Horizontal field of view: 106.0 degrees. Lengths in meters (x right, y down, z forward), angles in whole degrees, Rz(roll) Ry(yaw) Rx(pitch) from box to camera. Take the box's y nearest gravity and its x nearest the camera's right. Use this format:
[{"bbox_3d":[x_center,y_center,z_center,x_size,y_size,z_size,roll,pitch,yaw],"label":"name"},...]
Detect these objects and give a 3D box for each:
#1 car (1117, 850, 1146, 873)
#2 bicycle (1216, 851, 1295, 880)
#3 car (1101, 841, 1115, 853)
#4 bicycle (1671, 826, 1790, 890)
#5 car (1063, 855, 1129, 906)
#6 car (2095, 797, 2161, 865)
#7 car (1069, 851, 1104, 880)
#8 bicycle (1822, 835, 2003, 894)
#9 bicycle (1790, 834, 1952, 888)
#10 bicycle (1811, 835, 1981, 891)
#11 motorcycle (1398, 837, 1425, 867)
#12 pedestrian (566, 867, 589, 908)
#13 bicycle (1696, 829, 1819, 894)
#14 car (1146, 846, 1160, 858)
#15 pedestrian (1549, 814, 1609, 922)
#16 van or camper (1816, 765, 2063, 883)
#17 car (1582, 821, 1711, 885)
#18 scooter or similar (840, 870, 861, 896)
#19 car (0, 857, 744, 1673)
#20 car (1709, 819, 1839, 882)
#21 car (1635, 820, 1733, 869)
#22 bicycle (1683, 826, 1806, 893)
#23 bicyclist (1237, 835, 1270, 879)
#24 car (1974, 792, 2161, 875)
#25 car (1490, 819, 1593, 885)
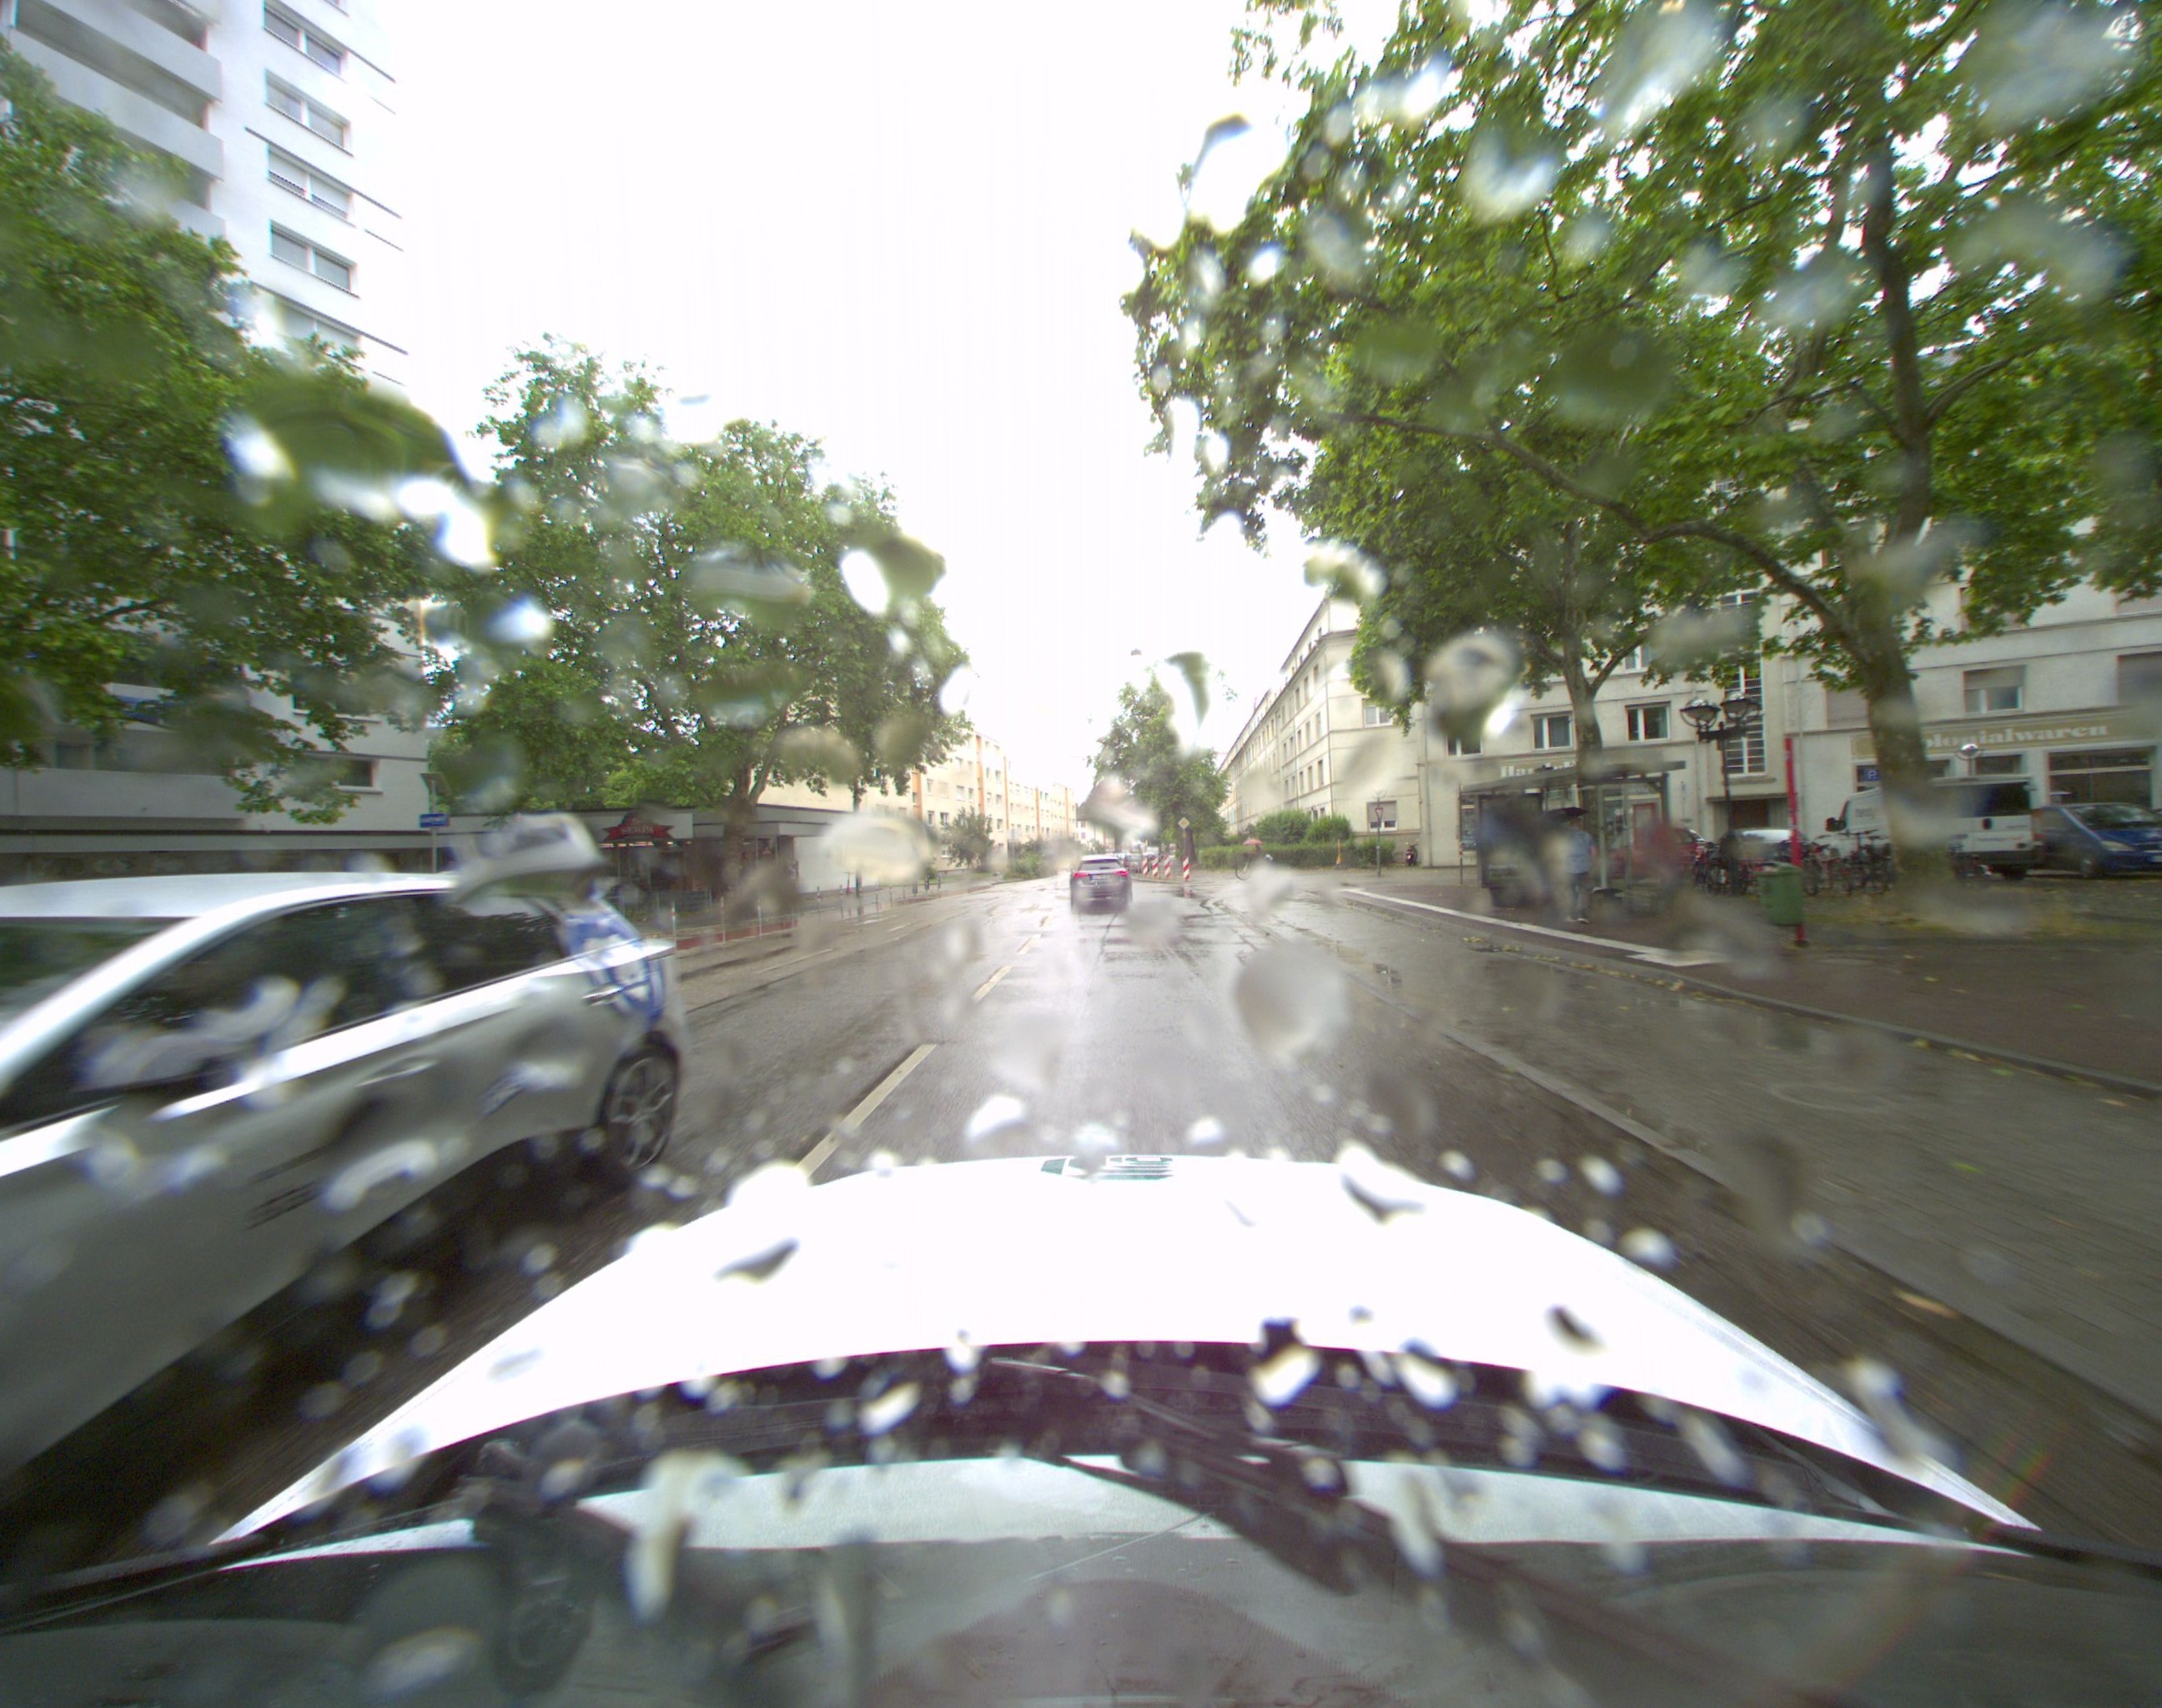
[{"bbox_3d":[3.830,0.582,62.183,1.986,1.574,4.001,-3,0,1],"label":"car"},{"bbox_3d":[7.647,0.503,35.692,3.213,1.112,1.048,-3,0,-17],"label":"bicycle"},{"bbox_3d":[4.573,-1.138,137.989,1.880,1.836,4.007,-3,0,6],"label":"car"},{"bbox_3d":[13.834,0.084,17.399,1.818,1.258,0.714,-3,0,23],"label":"bicycle"},{"bbox_3d":[0.492,0.735,24.406,1.784,1.372,3.509,-1,0,2],"label":"car"},{"bbox_3d":[23.875,-0.523,17.205,1.663,1.432,3.758,-3,-3,28],"label":"car"},{"bbox_3d":[0.333,0.568,42.877,1.601,1.372,4.002,-3,0,2],"label":"car"},{"bbox_3d":[15.331,0.194,15.089,2.260,0.983,0.549,-3,0,25],"label":"bicycle"},{"bbox_3d":[15.747,0.155,16.311,2.226,0.968,0.588,-3,0,25],"label":"bicycle"},{"bbox_3d":[15.609,0.184,15.678,2.231,0.968,0.537,-3,0,25],"label":"bicycle"},{"bbox_3d":[16.276,-0.114,40.046,0.867,1.392,3.023,-3,0,27],"label":"motorcycle"},{"bbox_3d":[-20.571,1.353,33.267,0.570,1.629,0.638,-2,-1,-12],"label":"pedestrian"},{"bbox_3d":[13.224,0.155,15.971,1.745,1.195,0.502,-3,0,23],"label":"bicycle"},{"bbox_3d":[11.611,-0.313,130.266,2.036,1.836,4.800,-3,0,6],"label":"car"},{"bbox_3d":[7.978,0.222,13.077,0.710,1.669,0.669,-3,-1,27],"label":"pedestrian"},{"bbox_3d":[19.386,-0.617,18.819,2.373,2.231,5.464,-3,0,30],"label":"van or camper"},{"bbox_3d":[14.460,0.027,21.038,1.514,1.457,3.401,-3,-2,13],"label":"car"},{"bbox_3d":[-11.700,1.475,41.389,0.435,1.266,1.379,-3,0,9],"label":"scooter or similar"},{"bbox_3d":[-2.939,0.815,2.650,1.838,1.510,4.056,-3,0,1],"label":"car"},{"bbox_3d":[16.596,-0.038,19.669,1.568,1.336,3.281,-3,-2,26],"label":"car"},{"bbox_3d":[21.899,-0.356,29.769,1.975,1.628,4.657,0,1,25],"label":"car"},{"bbox_3d":[13.477,0.121,16.597,1.818,1.258,0.528,-3,0,23],"label":"bicycle"},{"bbox_3d":[7.532,0.133,35.611,0.940,1.868,1.136,-3,0,-16],"label":"bicyclist"},{"bbox_3d":[21.397,-0.411,17.379,1.664,1.575,3.756,-3,-1,23],"label":"car"},{"bbox_3d":[12.277,0.005,21.941,1.675,1.551,3.538,-3,-2,18],"label":"car"}]
